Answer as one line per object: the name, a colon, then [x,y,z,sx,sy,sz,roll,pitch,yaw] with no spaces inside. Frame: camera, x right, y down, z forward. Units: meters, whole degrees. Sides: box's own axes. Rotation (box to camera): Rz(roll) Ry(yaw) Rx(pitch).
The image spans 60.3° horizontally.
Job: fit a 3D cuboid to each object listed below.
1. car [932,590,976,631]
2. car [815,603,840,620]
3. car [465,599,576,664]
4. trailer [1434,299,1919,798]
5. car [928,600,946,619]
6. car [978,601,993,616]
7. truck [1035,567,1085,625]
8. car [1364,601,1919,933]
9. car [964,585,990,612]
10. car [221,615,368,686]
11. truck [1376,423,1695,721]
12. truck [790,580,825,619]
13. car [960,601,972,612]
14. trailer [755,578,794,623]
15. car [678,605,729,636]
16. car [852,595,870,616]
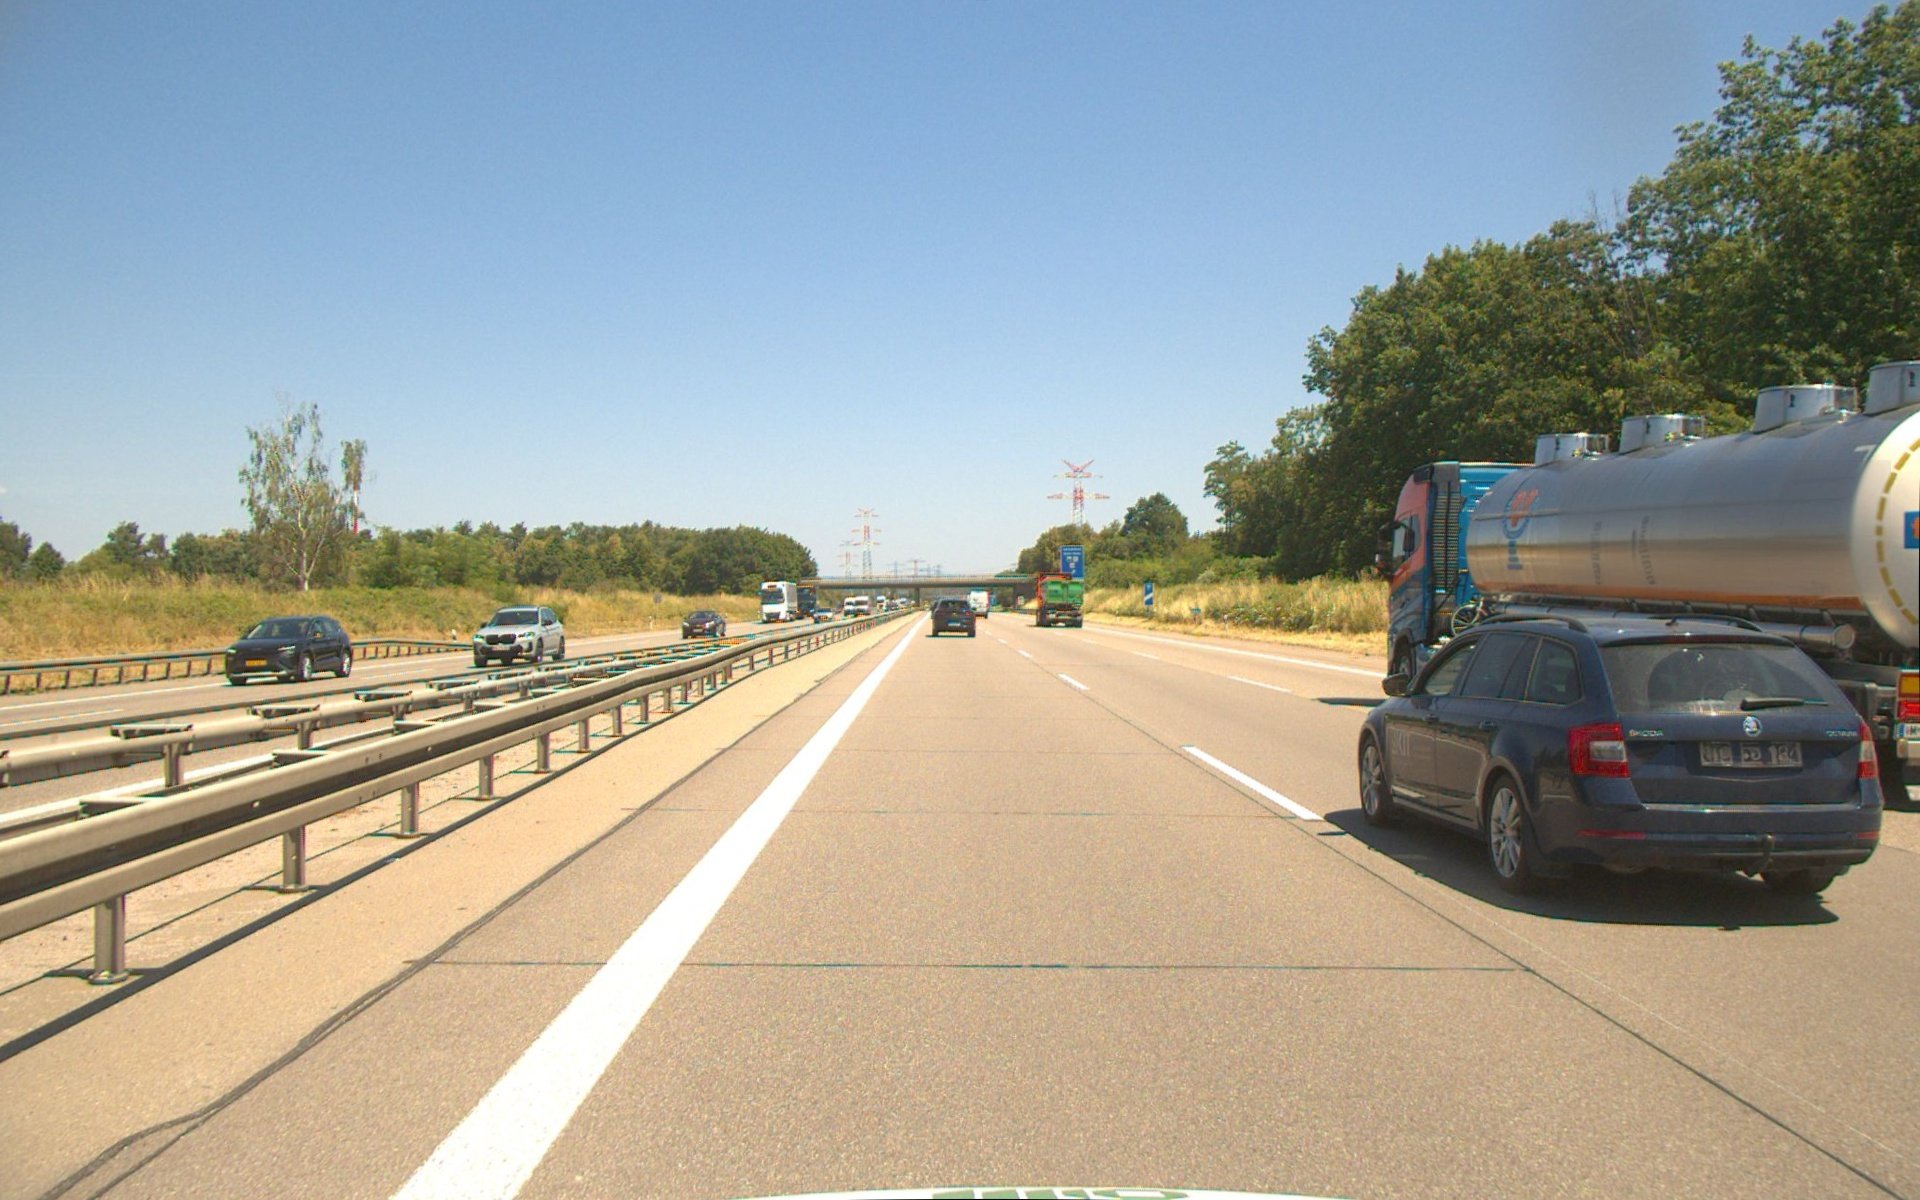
car: [-0.289,0.463,75.428,1.953,1.780,3.999,1,0,-1]
car: [-12.097,1.050,151.509,1.922,1.454,5.289,-2,0,-1]
car: [-12.939,0.891,49.034,1.922,1.748,5.289,-2,0,-1]
trailer: [8.254,-0.368,18.390,2.477,3.799,11.546,1,0,-1]
car: [-2.323,0.930,164.558,1.758,1.780,3.999,1,0,-1]
car: [3.182,1.077,206.181,1.758,1.780,3.999,1,0,-1]
truck: [6.996,-0.258,117.692,2.626,3.864,12.476,1,0,-1]
car: [3.840,0.774,9.752,1.765,1.509,4.270,1,0,-1]
car: [1.808,-0.128,174.846,2.567,2.807,6.095,1,0,-1]
car: [-16.778,1.234,41.970,1.794,1.581,4.948,-2,0,-1]
truck: [8.181,-0.361,24.356,2.477,3.799,6.097,1,0,-1]
truck: [-19.378,-0.059,211.200,3.308,4.705,12.184,-3,0,-1]
car: [0.904,0.958,258.760,1.711,1.662,4.003,1,0,-1]
trailer: [-18.849,0.045,168.560,3.091,4.271,6.324,-3,0,-1]
car: [-13.504,1.061,87.340,1.922,1.552,5.289,-2,0,-1]
car: [-12.809,0.652,214.476,1.953,2.615,6.389,-2,0,-1]
